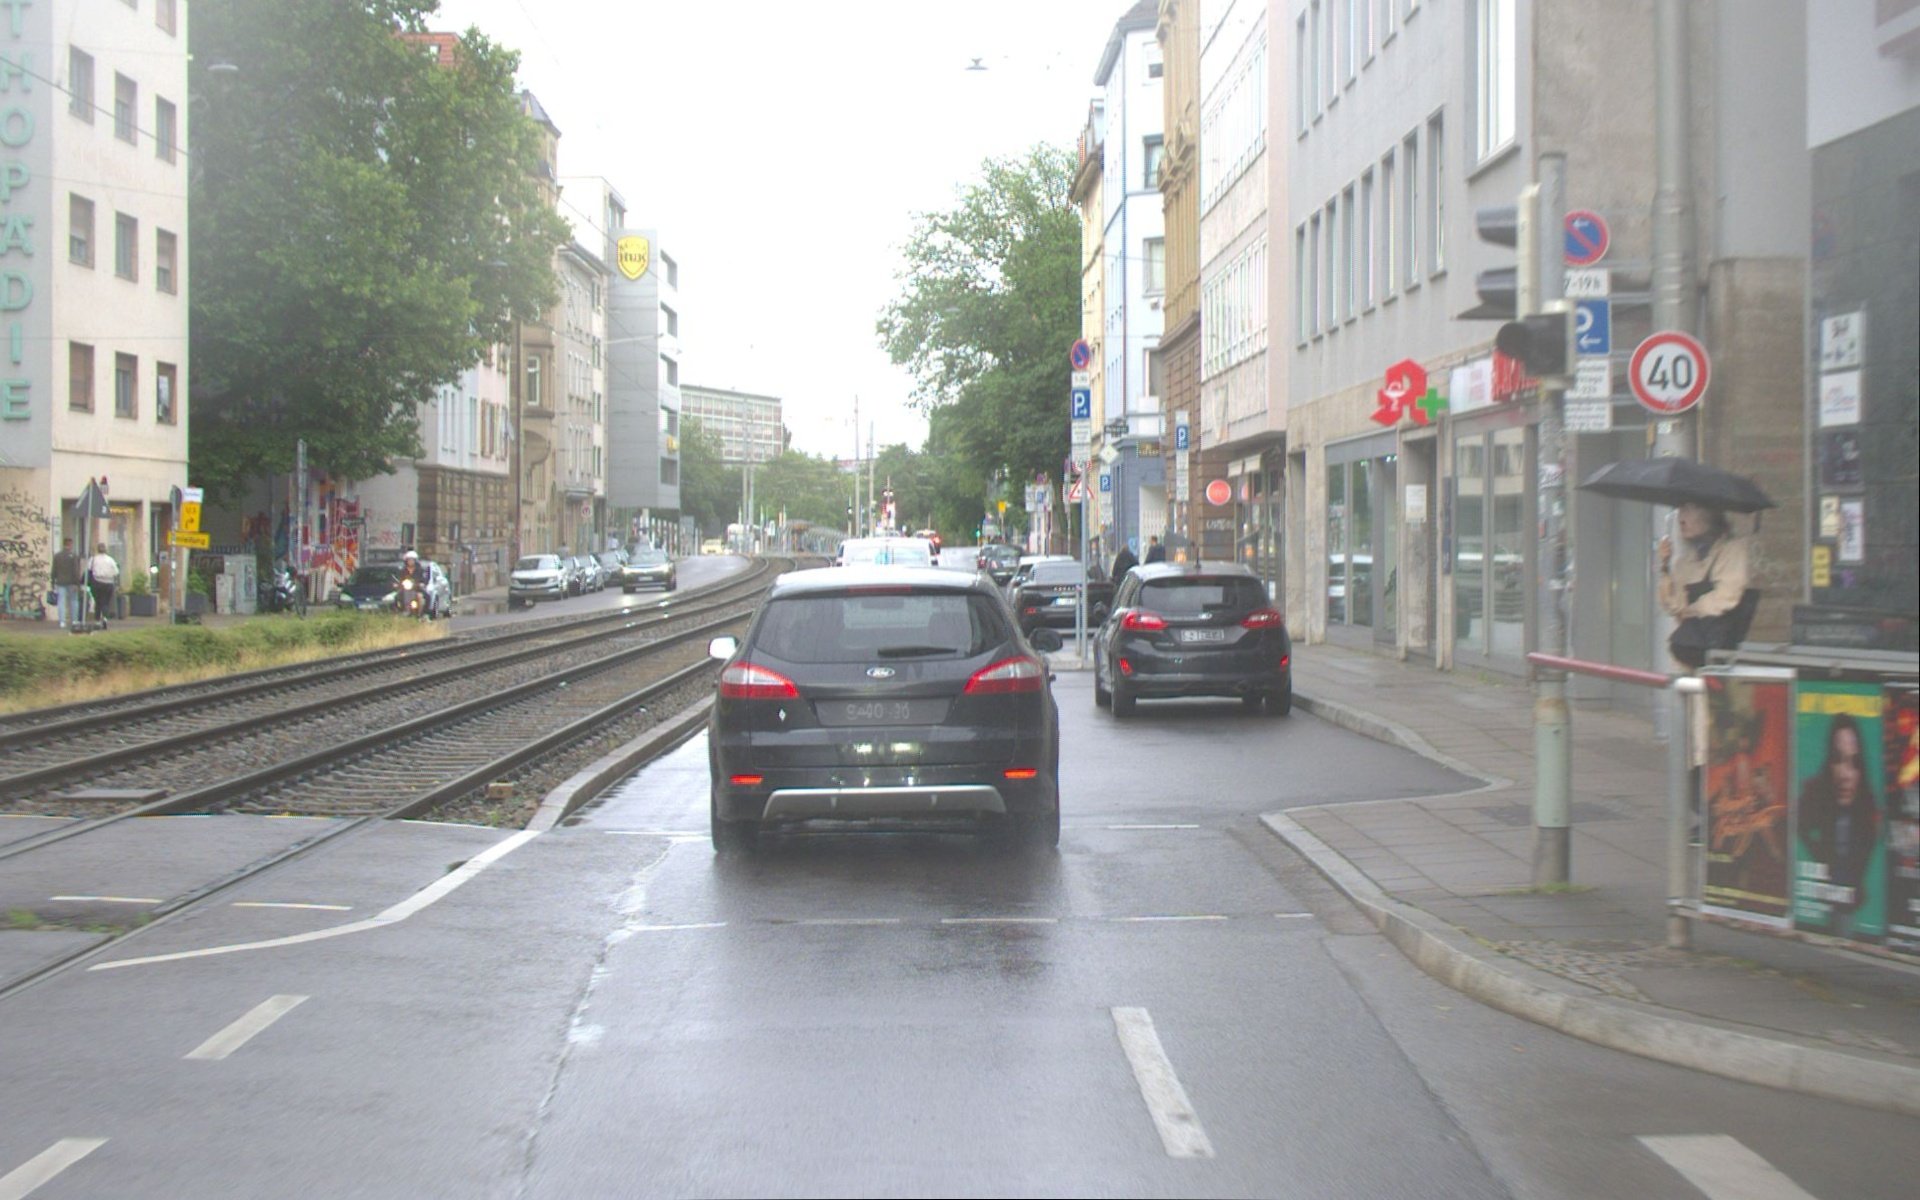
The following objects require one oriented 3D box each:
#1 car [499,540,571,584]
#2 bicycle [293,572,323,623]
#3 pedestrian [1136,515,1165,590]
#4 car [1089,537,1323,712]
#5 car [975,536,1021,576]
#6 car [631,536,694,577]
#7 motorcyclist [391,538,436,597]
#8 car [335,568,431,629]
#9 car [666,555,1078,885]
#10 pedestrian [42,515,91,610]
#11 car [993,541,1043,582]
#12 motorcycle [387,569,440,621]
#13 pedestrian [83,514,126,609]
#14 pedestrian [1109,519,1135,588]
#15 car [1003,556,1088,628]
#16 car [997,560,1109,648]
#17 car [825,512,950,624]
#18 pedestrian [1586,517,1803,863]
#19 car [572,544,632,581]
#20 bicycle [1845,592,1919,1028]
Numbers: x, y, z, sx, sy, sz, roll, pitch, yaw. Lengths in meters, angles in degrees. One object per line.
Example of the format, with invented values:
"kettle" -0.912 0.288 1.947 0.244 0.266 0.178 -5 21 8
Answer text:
"car" -14.932 -1.326 120.974 1.993 1.514 4.435 0 1 0
"bicycle" -16.093 -0.059 84.872 0.590 1.222 2.404 0 0 -7
"pedestrian" 5.172 -1.292 93.226 0.736 2.007 0.821 0 1 -1
"car" 2.353 0.232 33.925 1.993 1.588 4.271 -1 0 0
"car" 1.458 -1.719 132.989 1.642 1.510 4.039 0 1 -1
"car" -11.109 -1.614 128.622 1.993 1.514 4.444 0 1 0
"motorcyclist" -11.228 -0.669 70.662 0.741 1.213 0.970 0 0 2
"car" -14.675 -0.062 87.588 1.744 1.464 4.220 -1 1 0
"car" -0.425 0.591 18.943 1.993 1.588 4.271 -1 0 0
"pedestrian" -17.970 -0.757 69.141 0.727 1.889 0.983 0 0 0
"car" 2.165 -1.447 128.577 1.738 1.484 4.000 0 1 -1
"motorcycle" -11.236 -0.104 70.718 0.742 1.056 1.931 0 0 1
"pedestrian" -17.184 -0.767 69.067 0.678 1.889 0.743 0 0 0
"pedestrian" 4.390 -1.267 93.089 0.662 1.846 0.821 0 1 -1
"car" 1.880 -0.199 76.721 1.746 1.518 4.355 0 1 -1
"car" 1.735 0.074 65.397 1.993 1.588 4.572 -1 0 0
"car" -1.194 -0.515 58.311 1.993 1.810 4.271 -1 0 0
"pedestrian" 3.446 0.407 16.160 0.659 1.577 0.780 -1 0 -22
"car" -14.739 -1.556 141.783 1.993 1.514 4.676 0 1 0
"bicycle" 3.266 0.611 9.427 0.497 1.254 1.957 0 0 -25
